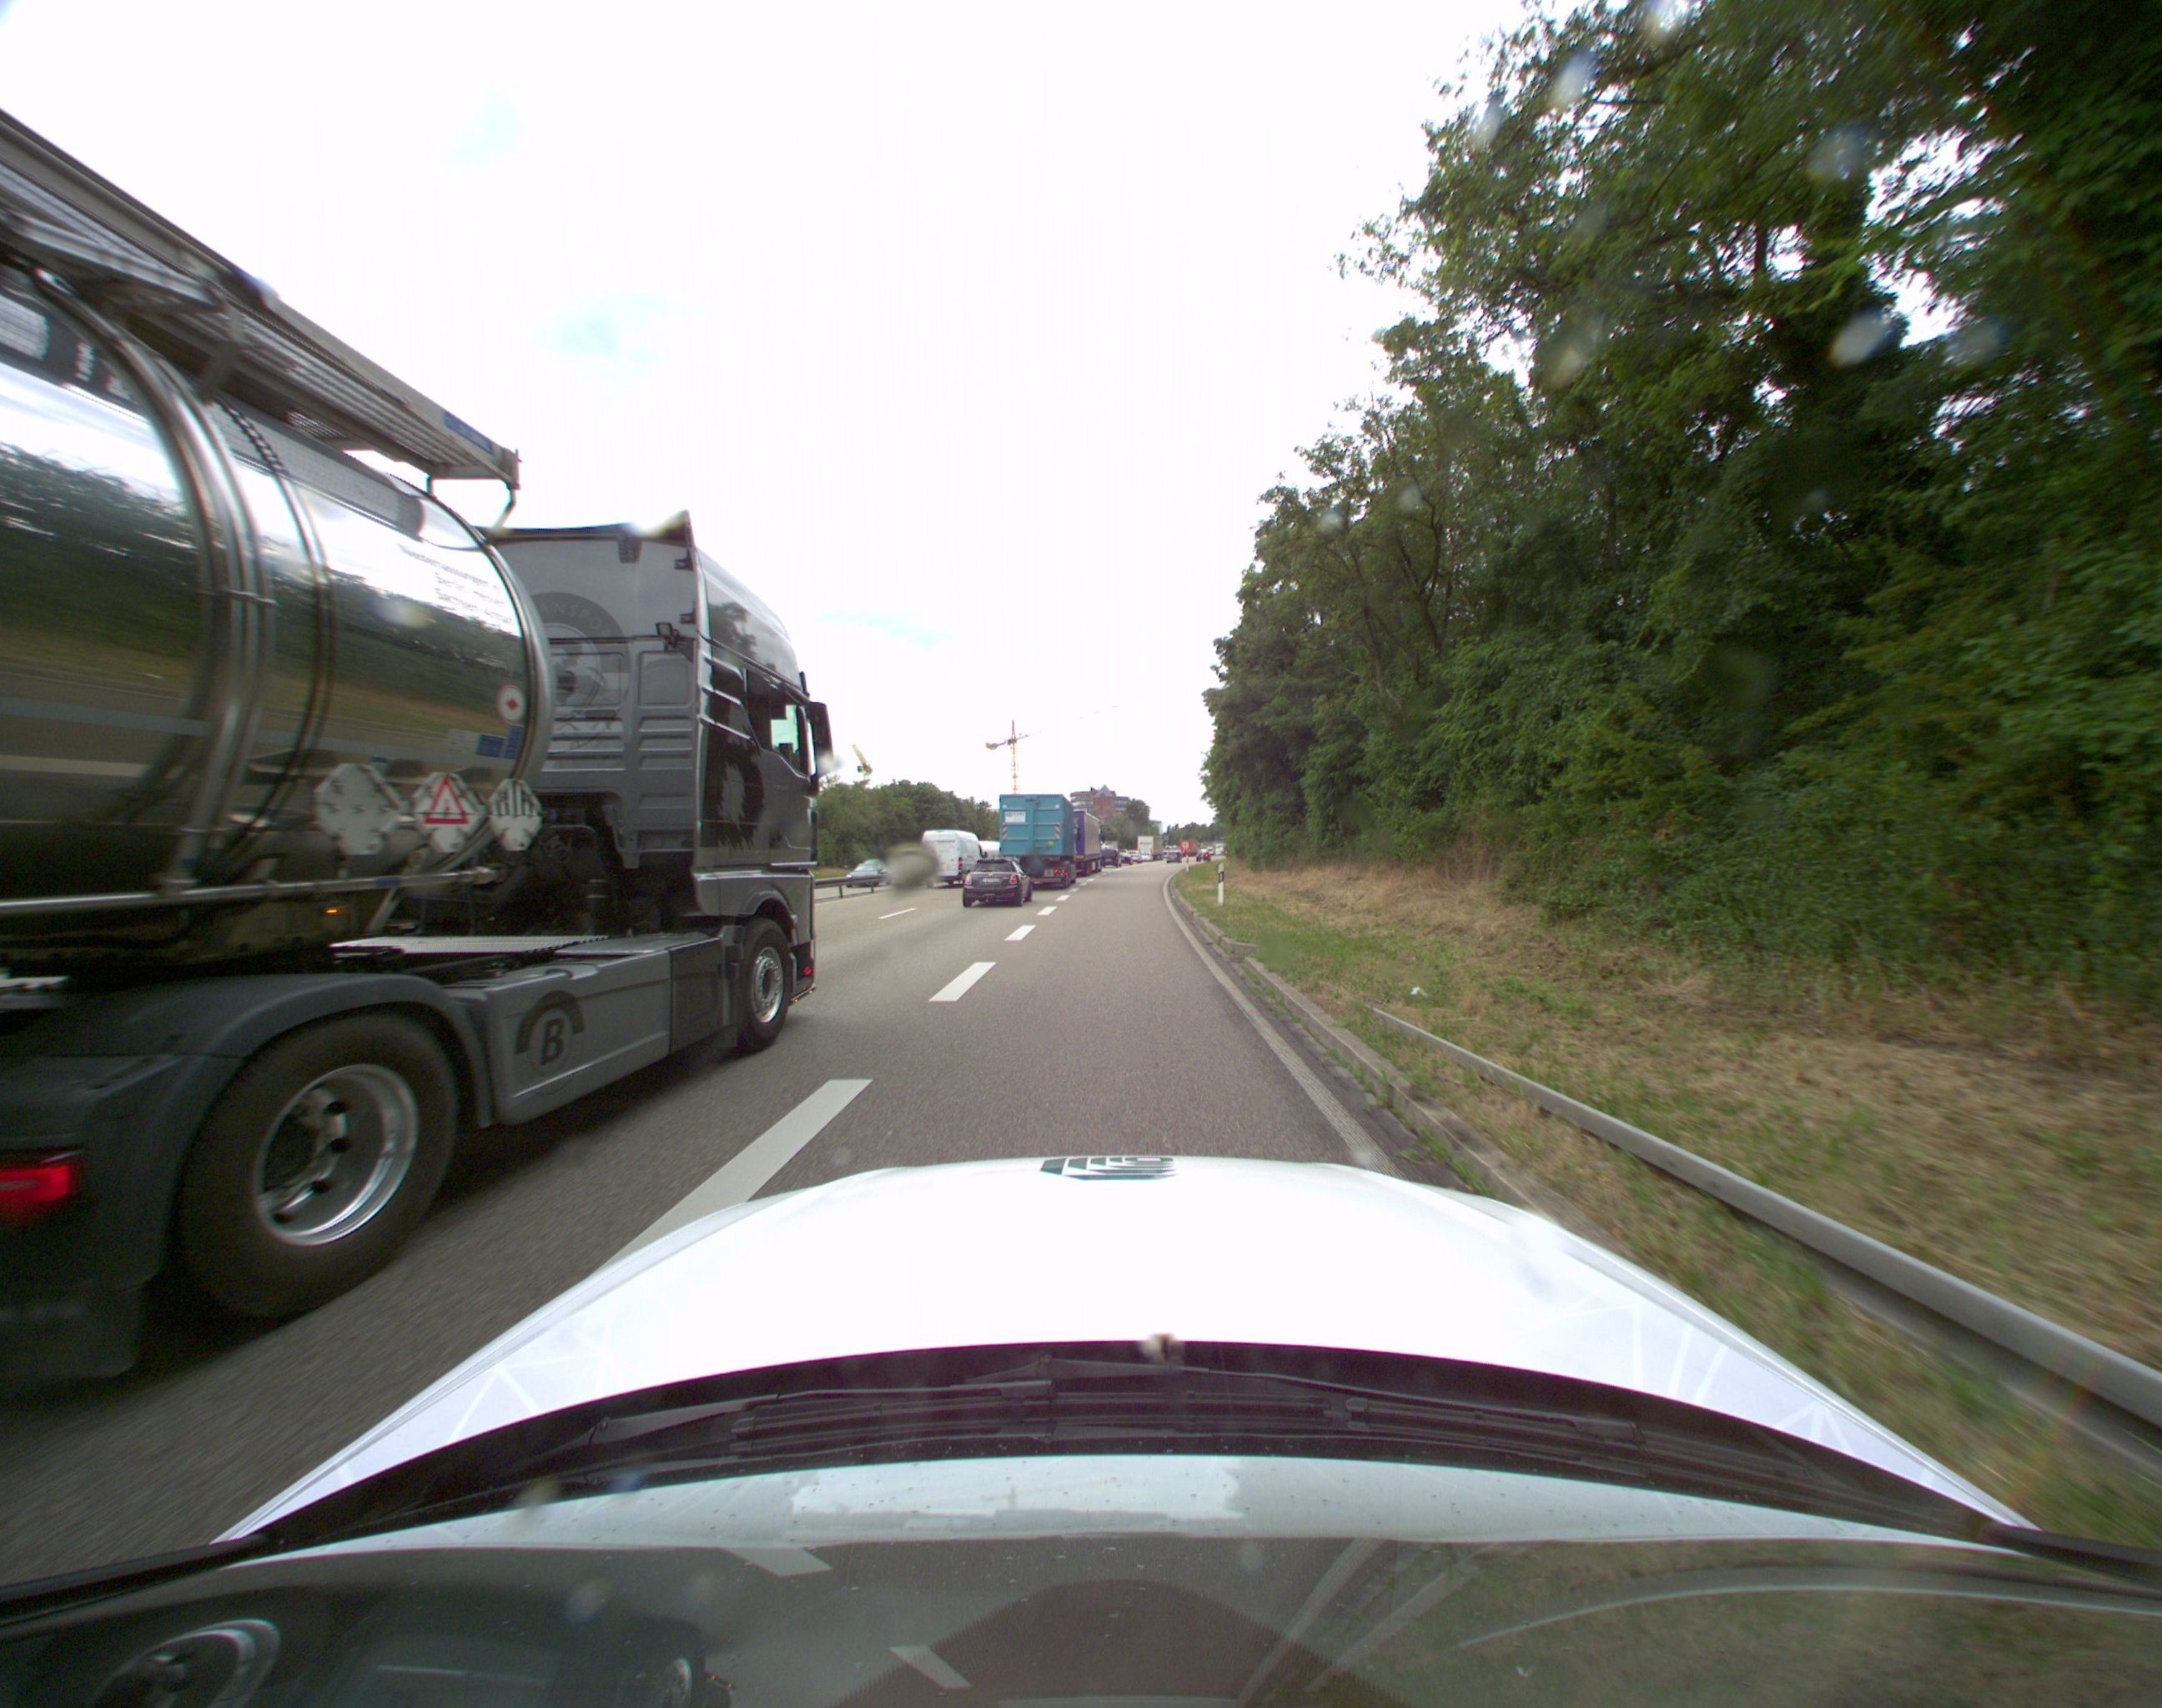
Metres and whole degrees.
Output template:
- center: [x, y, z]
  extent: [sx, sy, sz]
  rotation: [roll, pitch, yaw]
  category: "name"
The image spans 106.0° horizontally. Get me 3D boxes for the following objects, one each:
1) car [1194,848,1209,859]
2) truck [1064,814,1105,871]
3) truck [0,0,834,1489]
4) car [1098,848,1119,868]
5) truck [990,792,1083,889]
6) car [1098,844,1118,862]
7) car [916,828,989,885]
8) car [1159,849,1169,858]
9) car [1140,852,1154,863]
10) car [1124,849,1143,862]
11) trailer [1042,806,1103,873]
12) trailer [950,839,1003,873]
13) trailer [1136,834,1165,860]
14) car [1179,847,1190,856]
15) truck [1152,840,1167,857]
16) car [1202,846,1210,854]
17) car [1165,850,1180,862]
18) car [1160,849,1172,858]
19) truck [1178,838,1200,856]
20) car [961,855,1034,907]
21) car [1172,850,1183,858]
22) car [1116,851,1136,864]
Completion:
- center: [17.545, -0.047, 118.373]
  extent: [1.813, 1.482, 4.014]
  rotation: [-2, 0, 12]
  category: "car"
- center: [0.343, -0.808, 61.326]
  extent: [2.549, 4.042, 6.598]
  rotation: [0, 0, 5]
  category: "truck"
- center: [-3.833, -0.471, 4.479]
  extent: [2.674, 3.907, 6.936]
  rotation: [-2, 0, 0]
  category: "truck"
- center: [2.826, 0.395, 83.093]
  extent: [1.980, 1.898, 4.987]
  rotation: [-4, 0, 2]
  category: "car"
- center: [-1.771, -0.552, 38.081]
  extent: [2.916, 3.796, 11.342]
  rotation: [-2, 0, 4]
  category: "truck"
- center: [4.002, -0.162, 119.597]
  extent: [1.980, 2.553, 5.380]
  rotation: [-2, 0, 12]
  category: "car"
- center: [-6.138, 0.130, 39.891]
  extent: [2.213, 2.578, 6.801]
  rotation: [0, 0, 2]
  category: "car"
- center: [16.110, -0.128, 157.736]
  extent: [1.521, 1.552, 3.428]
  rotation: [-2, 0, 10]
  category: "car"
- center: [9.731, 0.495, 119.493]
  extent: [1.754, 1.478, 4.099]
  rotation: [-2, 0, 9]
  category: "car"
- center: [7.021, 0.203, 108.306]
  extent: [1.944, 1.695, 4.880]
  rotation: [-2, 0, 10]
  category: "car"
- center: [-0.315, -0.828, 55.737]
  extent: [2.613, 4.022, 13.487]
  rotation: [0, 0, 6]
  category: "trailer"
- center: [-11.459, 0.194, 90.728]
  extent: [2.456, 3.396, 12.491]
  rotation: [-2, 0, 8]
  category: "trailer"
- center: [11.404, -1.022, 132.386]
  extent: [3.277, 4.036, 13.138]
  rotation: [0, 0, 11]
  category: "trailer"
- center: [23.436, -0.631, 184.523]
  extent: [1.980, 2.013, 4.014]
  rotation: [-2, 0, 12]
  category: "car"
- center: [19.789, -1.306, 204.945]
  extent: [2.721, 4.138, 10.728]
  rotation: [0, 0, 10]
  category: "truck"
- center: [34.885, -1.054, 226.518]
  extent: [1.602, 2.013, 4.017]
  rotation: [-2, 0, 16]
  category: "car"
- center: [12.134, 0.215, 107.893]
  extent: [1.815, 1.482, 4.007]
  rotation: [-2, 0, 6]
  category: "car"
- center: [16.605, -0.091, 158.355]
  extent: [1.787, 1.604, 4.273]
  rotation: [0, 0, 13]
  category: "car"
- center: [26.148, -1.732, 196.427]
  extent: [3.465, 4.073, 13.643]
  rotation: [-2, 0, 14]
  category: "truck"
- center: [-2.478, 0.769, 25.061]
  extent: [1.741, 1.422, 3.665]
  rotation: [-1, 0, 2]
  category: "car"
- center: [19.942, -0.064, 168.232]
  extent: [1.705, 1.684, 4.014]
  rotation: [0, 0, 13]
  category: "car"
- center: [5.323, 0.399, 95.763]
  extent: [1.836, 1.460, 4.844]
  rotation: [-2, 0, 10]
  category: "car"
